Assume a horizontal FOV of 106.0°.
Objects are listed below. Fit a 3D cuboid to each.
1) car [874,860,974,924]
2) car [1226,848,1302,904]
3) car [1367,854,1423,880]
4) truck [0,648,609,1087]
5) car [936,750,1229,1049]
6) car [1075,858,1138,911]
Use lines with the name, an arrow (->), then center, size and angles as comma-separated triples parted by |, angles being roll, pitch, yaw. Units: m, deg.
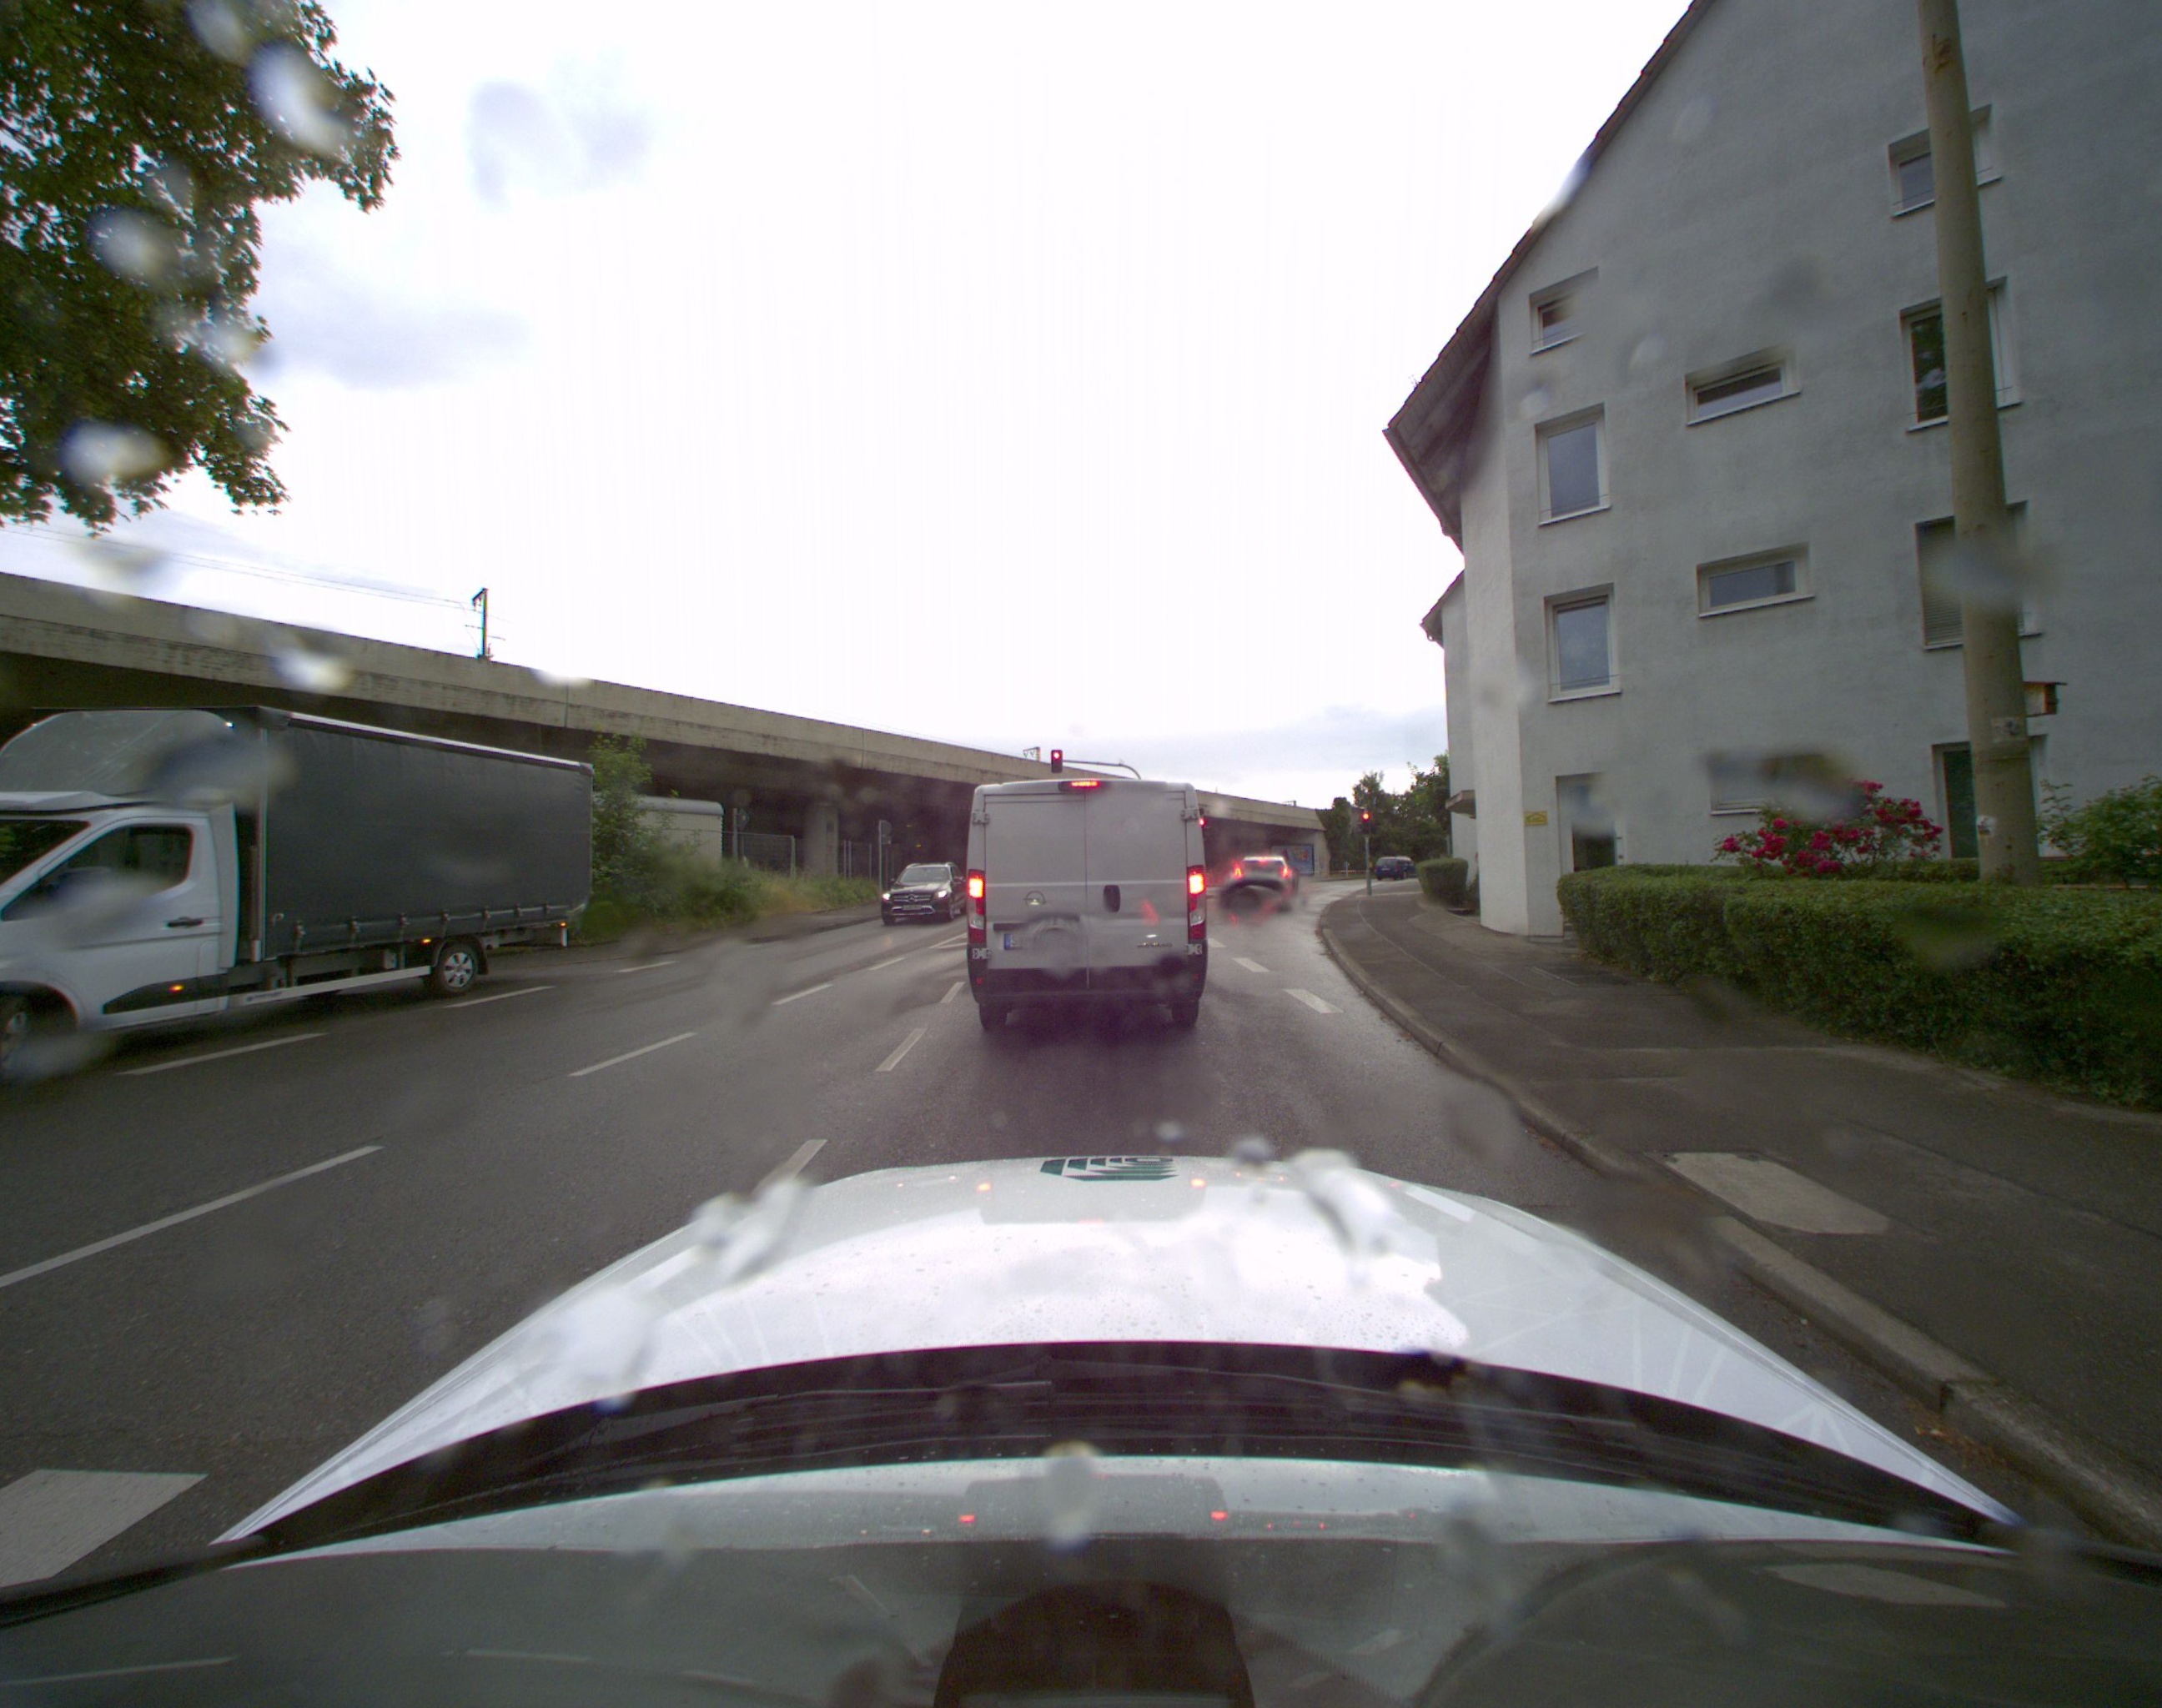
car -> -4.413, 1.021, 23.567 | 1.907, 1.626, 4.435 | -1, -1, 1
car -> 5.747, 0.689, 25.236 | 1.978, 1.549, 4.017 | -2, -2, 17
car -> 19.531, 0.816, 50.566 | 1.974, 1.519, 4.024 | -3, -2, 41
truck -> -9.083, 0.176, 9.173 | 2.599, 3.237, 7.782 | -1, -1, 3
car -> 0.104, 0.405, 9.170 | 2.296, 2.343, 5.284 | -1, -1, 2
car -> 0.980, 1.065, 28.885 | 1.984, 1.729, 4.004 | -1, -2, 5
